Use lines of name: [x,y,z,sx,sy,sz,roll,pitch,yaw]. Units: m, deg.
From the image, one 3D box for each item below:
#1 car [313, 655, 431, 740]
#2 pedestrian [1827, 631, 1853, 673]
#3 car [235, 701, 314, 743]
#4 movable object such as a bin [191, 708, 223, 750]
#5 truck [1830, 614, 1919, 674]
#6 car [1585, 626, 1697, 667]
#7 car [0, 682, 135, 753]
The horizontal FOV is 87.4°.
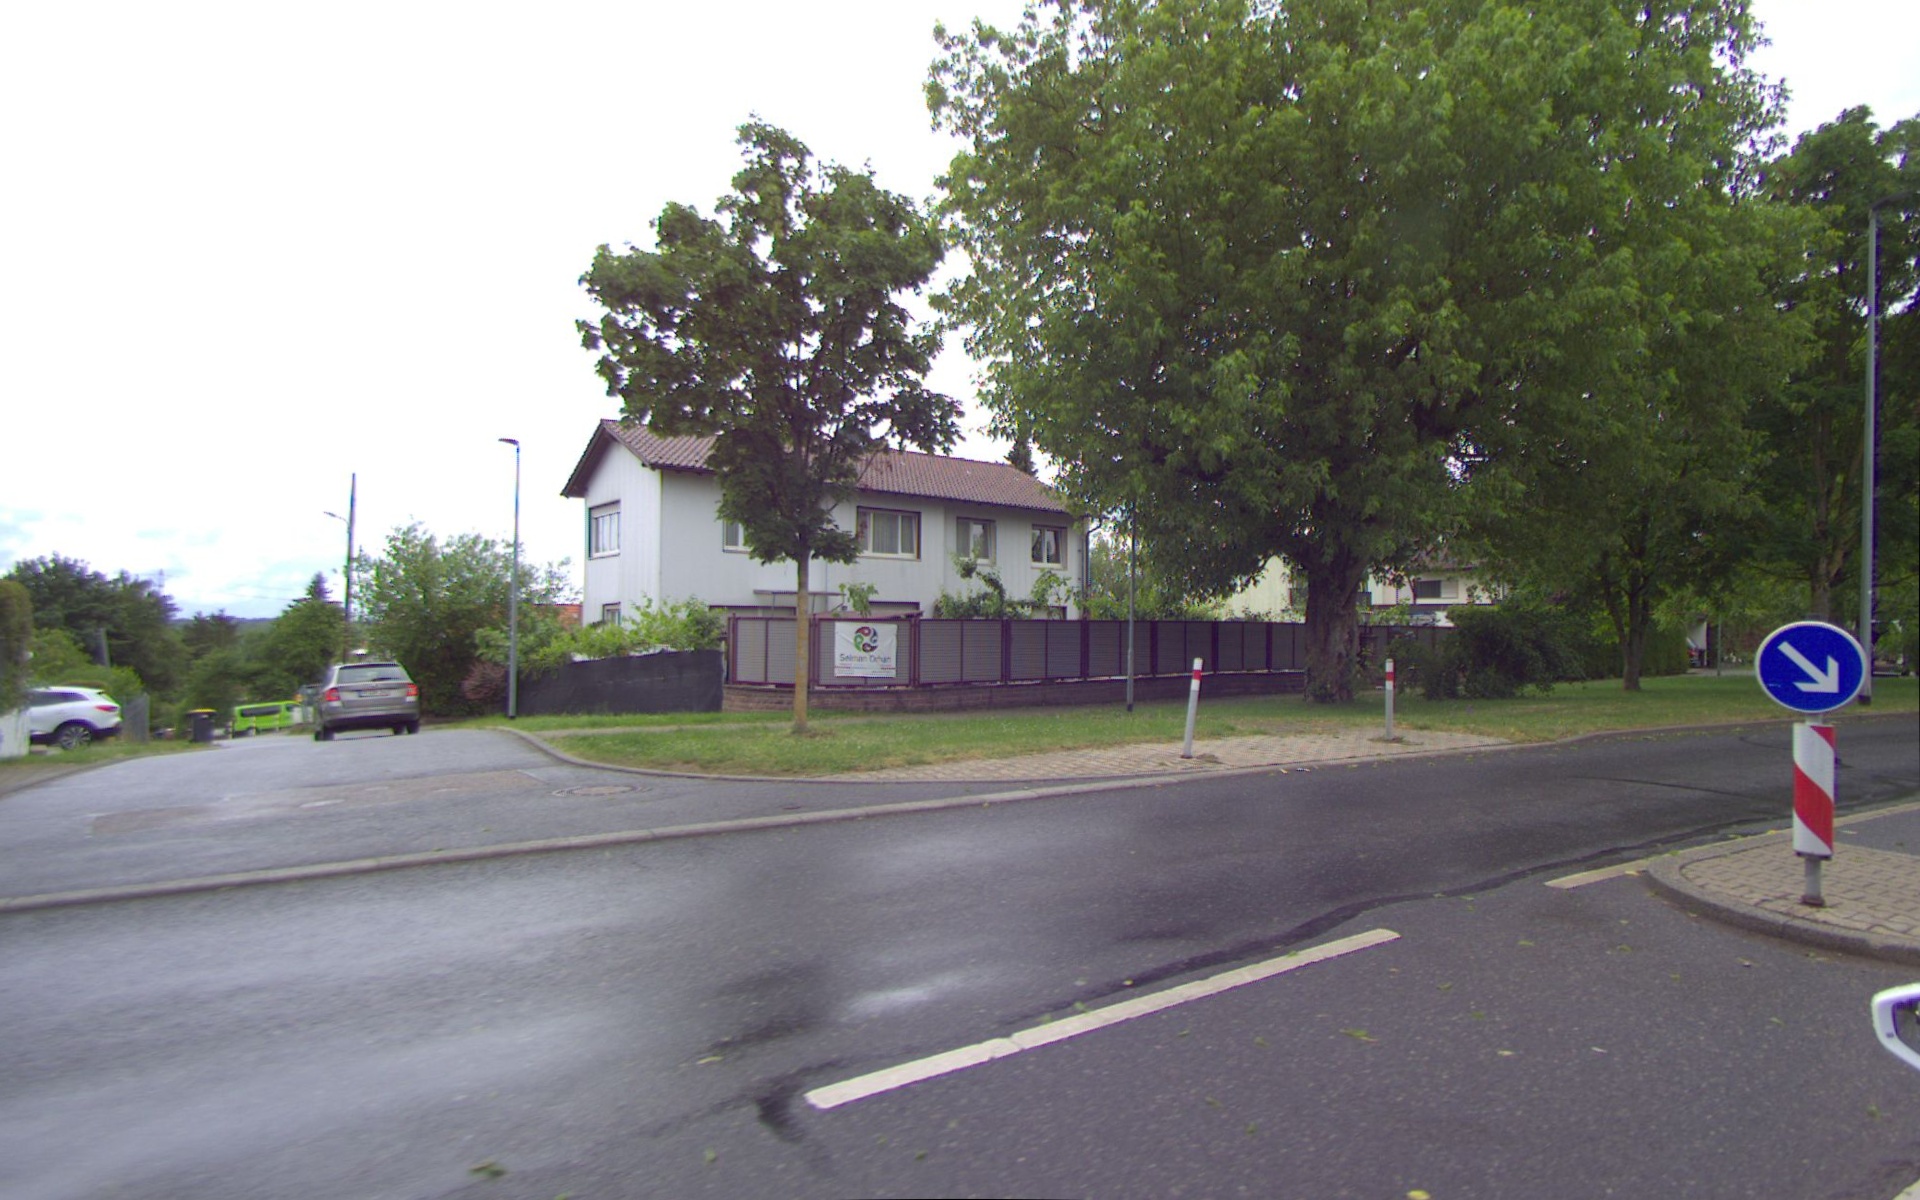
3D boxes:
car: [-11.971,1.882,20.324,1.827,1.506,3.964,2,-3,-34]
pedestrian: [39.681,2.331,45.312,0.816,1.865,0.704,1,-1,-35]
car: [-42.597,7.527,62.462,3.963,2.114,1.781,-1,0,-38]
movable object such as a bin: [-19.462,3.328,25.965,0.647,0.993,0.584,1,-2,-37]
truck: [42.846,2.034,46.805,5.819,2.631,2.269,2,-2,-37]
car: [31.700,2.130,46.832,1.864,1.840,3.954,2,-2,-39]
car: [-22.957,2.880,24.722,4.015,1.528,1.978,2,-2,-39]
